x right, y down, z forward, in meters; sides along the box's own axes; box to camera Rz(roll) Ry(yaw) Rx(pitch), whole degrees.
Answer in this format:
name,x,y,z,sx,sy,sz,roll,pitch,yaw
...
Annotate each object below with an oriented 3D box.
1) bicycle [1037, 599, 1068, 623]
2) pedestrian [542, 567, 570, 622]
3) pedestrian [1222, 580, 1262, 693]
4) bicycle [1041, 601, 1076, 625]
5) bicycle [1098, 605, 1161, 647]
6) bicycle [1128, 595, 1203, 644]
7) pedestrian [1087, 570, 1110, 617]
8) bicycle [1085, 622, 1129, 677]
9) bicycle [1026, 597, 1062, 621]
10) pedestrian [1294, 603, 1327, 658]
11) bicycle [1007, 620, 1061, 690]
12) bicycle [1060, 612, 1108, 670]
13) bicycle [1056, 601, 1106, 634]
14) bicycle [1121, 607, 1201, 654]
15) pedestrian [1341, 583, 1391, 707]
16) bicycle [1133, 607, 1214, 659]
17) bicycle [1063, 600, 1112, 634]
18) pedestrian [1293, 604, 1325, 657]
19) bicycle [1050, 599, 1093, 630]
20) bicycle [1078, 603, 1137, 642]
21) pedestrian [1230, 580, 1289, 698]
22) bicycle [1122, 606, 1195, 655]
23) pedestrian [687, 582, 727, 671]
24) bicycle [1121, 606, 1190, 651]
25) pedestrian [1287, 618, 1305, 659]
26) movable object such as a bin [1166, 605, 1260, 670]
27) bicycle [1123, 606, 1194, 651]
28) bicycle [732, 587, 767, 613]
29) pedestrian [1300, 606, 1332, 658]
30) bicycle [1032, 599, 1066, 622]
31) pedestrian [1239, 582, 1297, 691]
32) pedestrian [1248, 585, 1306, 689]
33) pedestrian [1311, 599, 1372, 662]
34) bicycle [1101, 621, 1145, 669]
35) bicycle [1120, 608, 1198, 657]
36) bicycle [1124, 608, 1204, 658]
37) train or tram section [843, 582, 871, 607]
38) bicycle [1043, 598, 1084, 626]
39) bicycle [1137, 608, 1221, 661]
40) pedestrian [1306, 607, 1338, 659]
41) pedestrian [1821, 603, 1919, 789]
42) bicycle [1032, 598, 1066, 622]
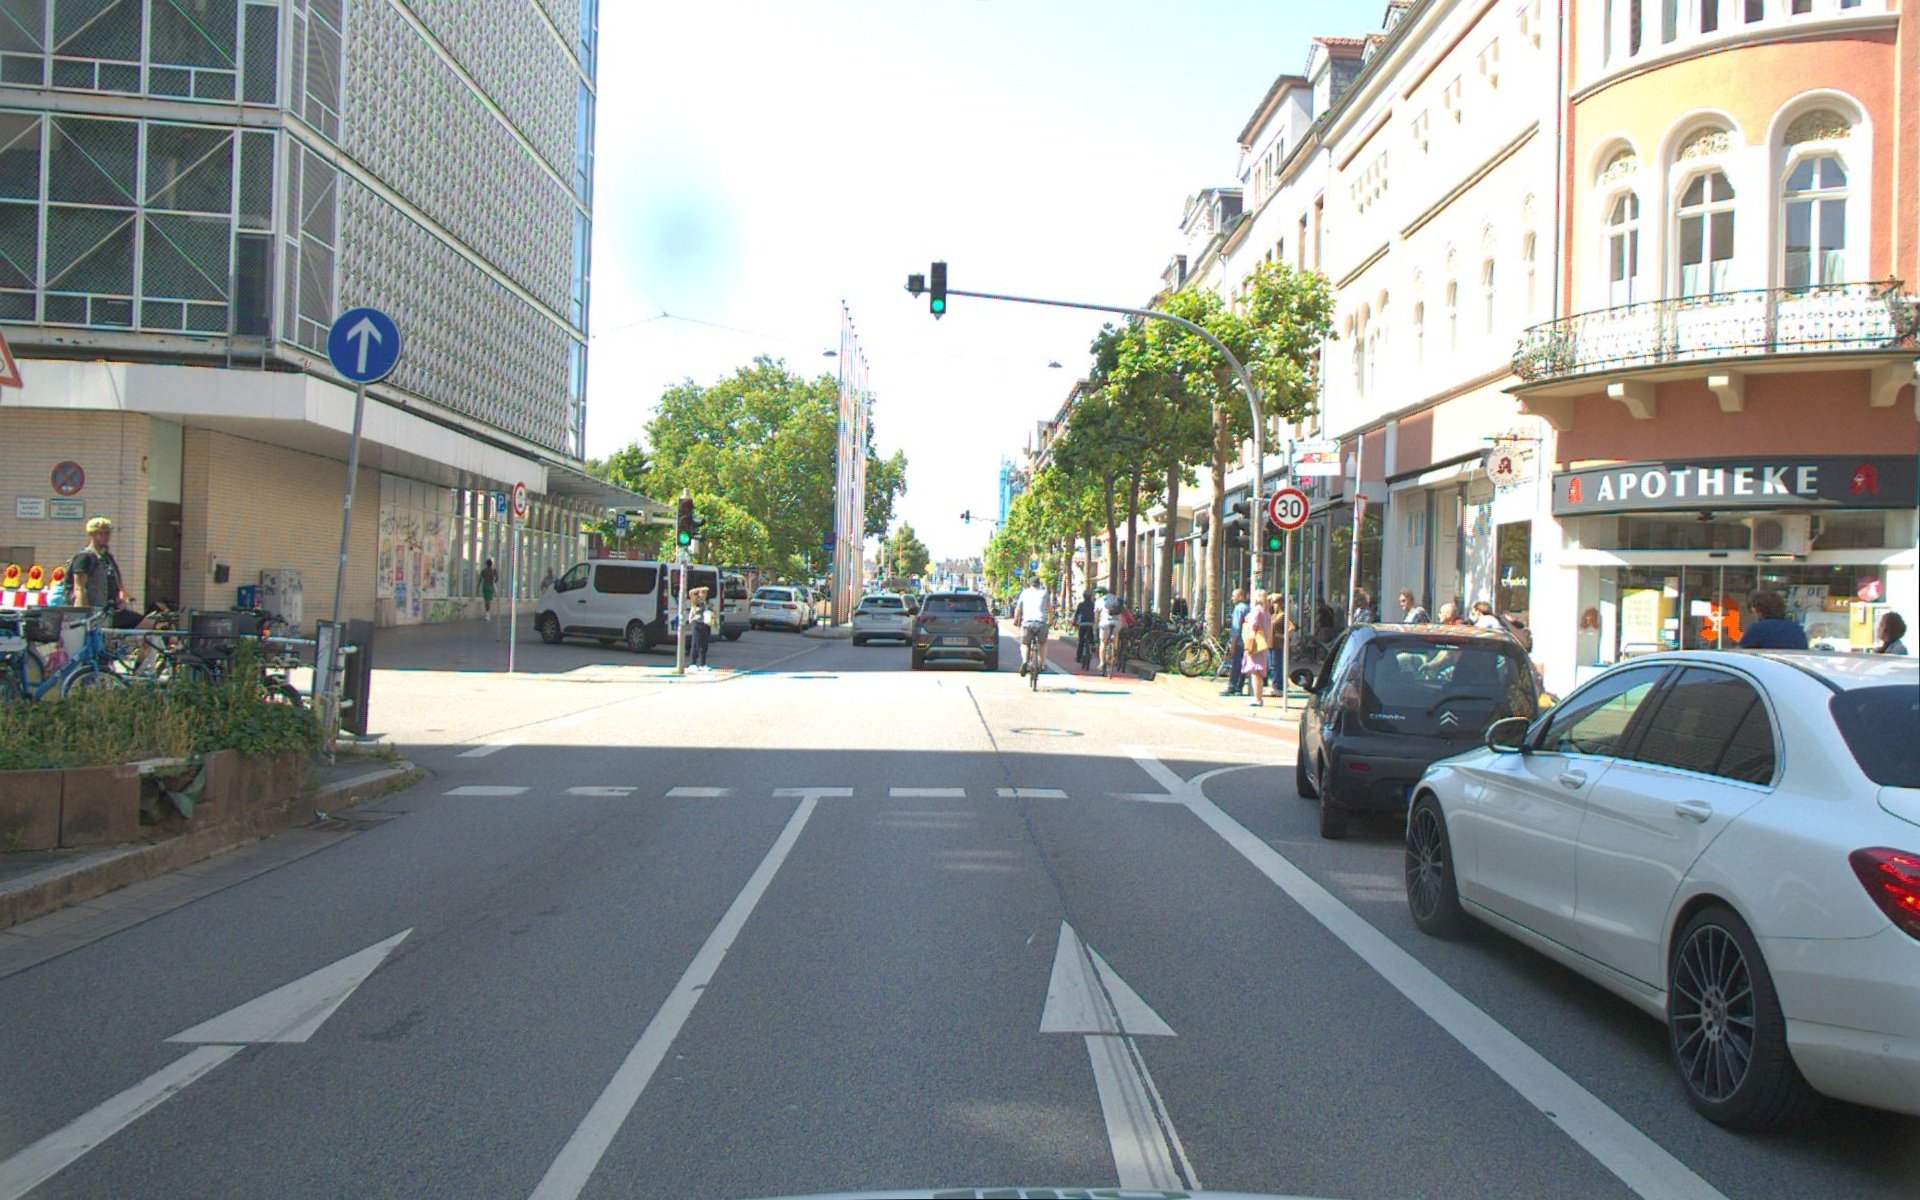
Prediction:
name,x,y,z,sx,sy,sz,roll,pitch,yaw
bicycle,4.916,0.563,88.201,1.615,1.222,0.474,2,0,2
pedestrian,-11.847,-0.170,48.479,0.665,1.586,0.640,1,0,-5
pedestrian,4.677,0.600,27.410,0.443,1.826,0.607,3,0,-3
bicycle,4.856,0.631,81.893,1.692,1.128,0.477,2,0,2
bicycle,4.795,0.746,46.749,1.825,1.147,0.586,2,-2,-37
bicycle,5.083,0.487,41.044,1.801,1.146,0.680,2,0,6
pedestrian,5.186,-0.253,61.825,0.626,1.718,0.843,4,1,-3
bicycle,2.856,0.940,32.255,0.617,0.997,2.088,1,0,-1
bicycle,4.796,0.534,94.339,1.904,1.279,0.701,2,0,-20
pedestrian,8.971,0.777,42.334,0.667,1.361,0.531,1,0,-3
bicycle,1.177,0.865,26.784,0.758,1.023,2.329,1,0,0
bicycle,2.648,0.858,35.455,0.684,1.146,2.080,3,0,-4
bicycle,4.672,0.678,63.862,1.801,1.146,0.498,3,0,11
bicycle,5.167,0.777,42.449,1.943,1.147,0.762,1,-1,12
pedestrian,6.304,0.696,25.714,0.625,1.875,0.615,3,-1,12
bicycle,4.966,0.770,38.520,1.802,1.146,0.666,1,-1,1
bicycle,4.840,0.643,62.798,1.801,1.218,0.674,2,0,7
pedestrian,9.047,0.786,42.931,0.667,1.356,0.531,2,0,-3
bicycle,4.843,0.626,71.627,1.801,1.206,0.670,3,0,5
bicycle,4.878,0.734,54.772,1.806,1.146,0.496,4,1,-9
pedestrian,4.546,0.592,25.133,0.626,1.739,0.789,-3,-2,-4
bicycle,5.176,0.801,43.162,1.801,1.146,0.530,3,-1,12
pedestrian,-4.681,0.483,30.586,0.628,1.586,0.679,3,0,-12
bicycle,5.251,0.765,44.423,1.801,1.147,0.448,1,-1,2
pedestrian,8.387,0.963,41.304,0.357,0.985,0.437,2,0,1
movable object such as a bin,5.242,0.768,34.260,1.812,1.209,0.653,4,0,15
bicycle,5.272,0.765,43.964,1.801,1.147,0.448,1,-1,2
bicycle,-11.202,-0.016,87.873,1.746,1.331,0.662,2,0,-3
pedestrian,9.001,0.806,41.789,0.667,1.275,0.531,0,0,-3
bicycle,4.838,0.565,89.926,1.805,1.222,0.608,2,0,2
pedestrian,5.341,0.625,28.695,0.771,1.826,0.641,3,0,-3
pedestrian,5.366,0.614,28.021,0.771,1.720,0.641,2,0,-3
pedestrian,8.992,0.725,39.011,1.208,1.447,0.789,1,-1,-3
bicycle,3.490,0.949,35.453,0.588,0.942,2.086,2,0,-3
bicycle,4.804,0.787,40.025,1.802,1.147,0.530,1,-1,1
bicycle,4.838,0.786,39.331,1.802,1.146,0.666,1,-1,1
train or tram section,-14.835,-0.807,238.552,2.558,3.406,11.006,2,0,3
bicycle,4.942,0.554,78.726,1.891,1.270,0.736,2,0,2
bicycle,4.951,0.779,37.473,1.802,1.146,0.643,1,-1,1
pedestrian,9.017,0.828,41.191,0.626,1.275,0.608,0,-1,-3
pedestrian,8.616,0.873,15.169,0.893,1.640,0.963,2,-4,-38
bicycle,4.804,0.557,89.419,1.805,1.222,0.545,2,0,2
